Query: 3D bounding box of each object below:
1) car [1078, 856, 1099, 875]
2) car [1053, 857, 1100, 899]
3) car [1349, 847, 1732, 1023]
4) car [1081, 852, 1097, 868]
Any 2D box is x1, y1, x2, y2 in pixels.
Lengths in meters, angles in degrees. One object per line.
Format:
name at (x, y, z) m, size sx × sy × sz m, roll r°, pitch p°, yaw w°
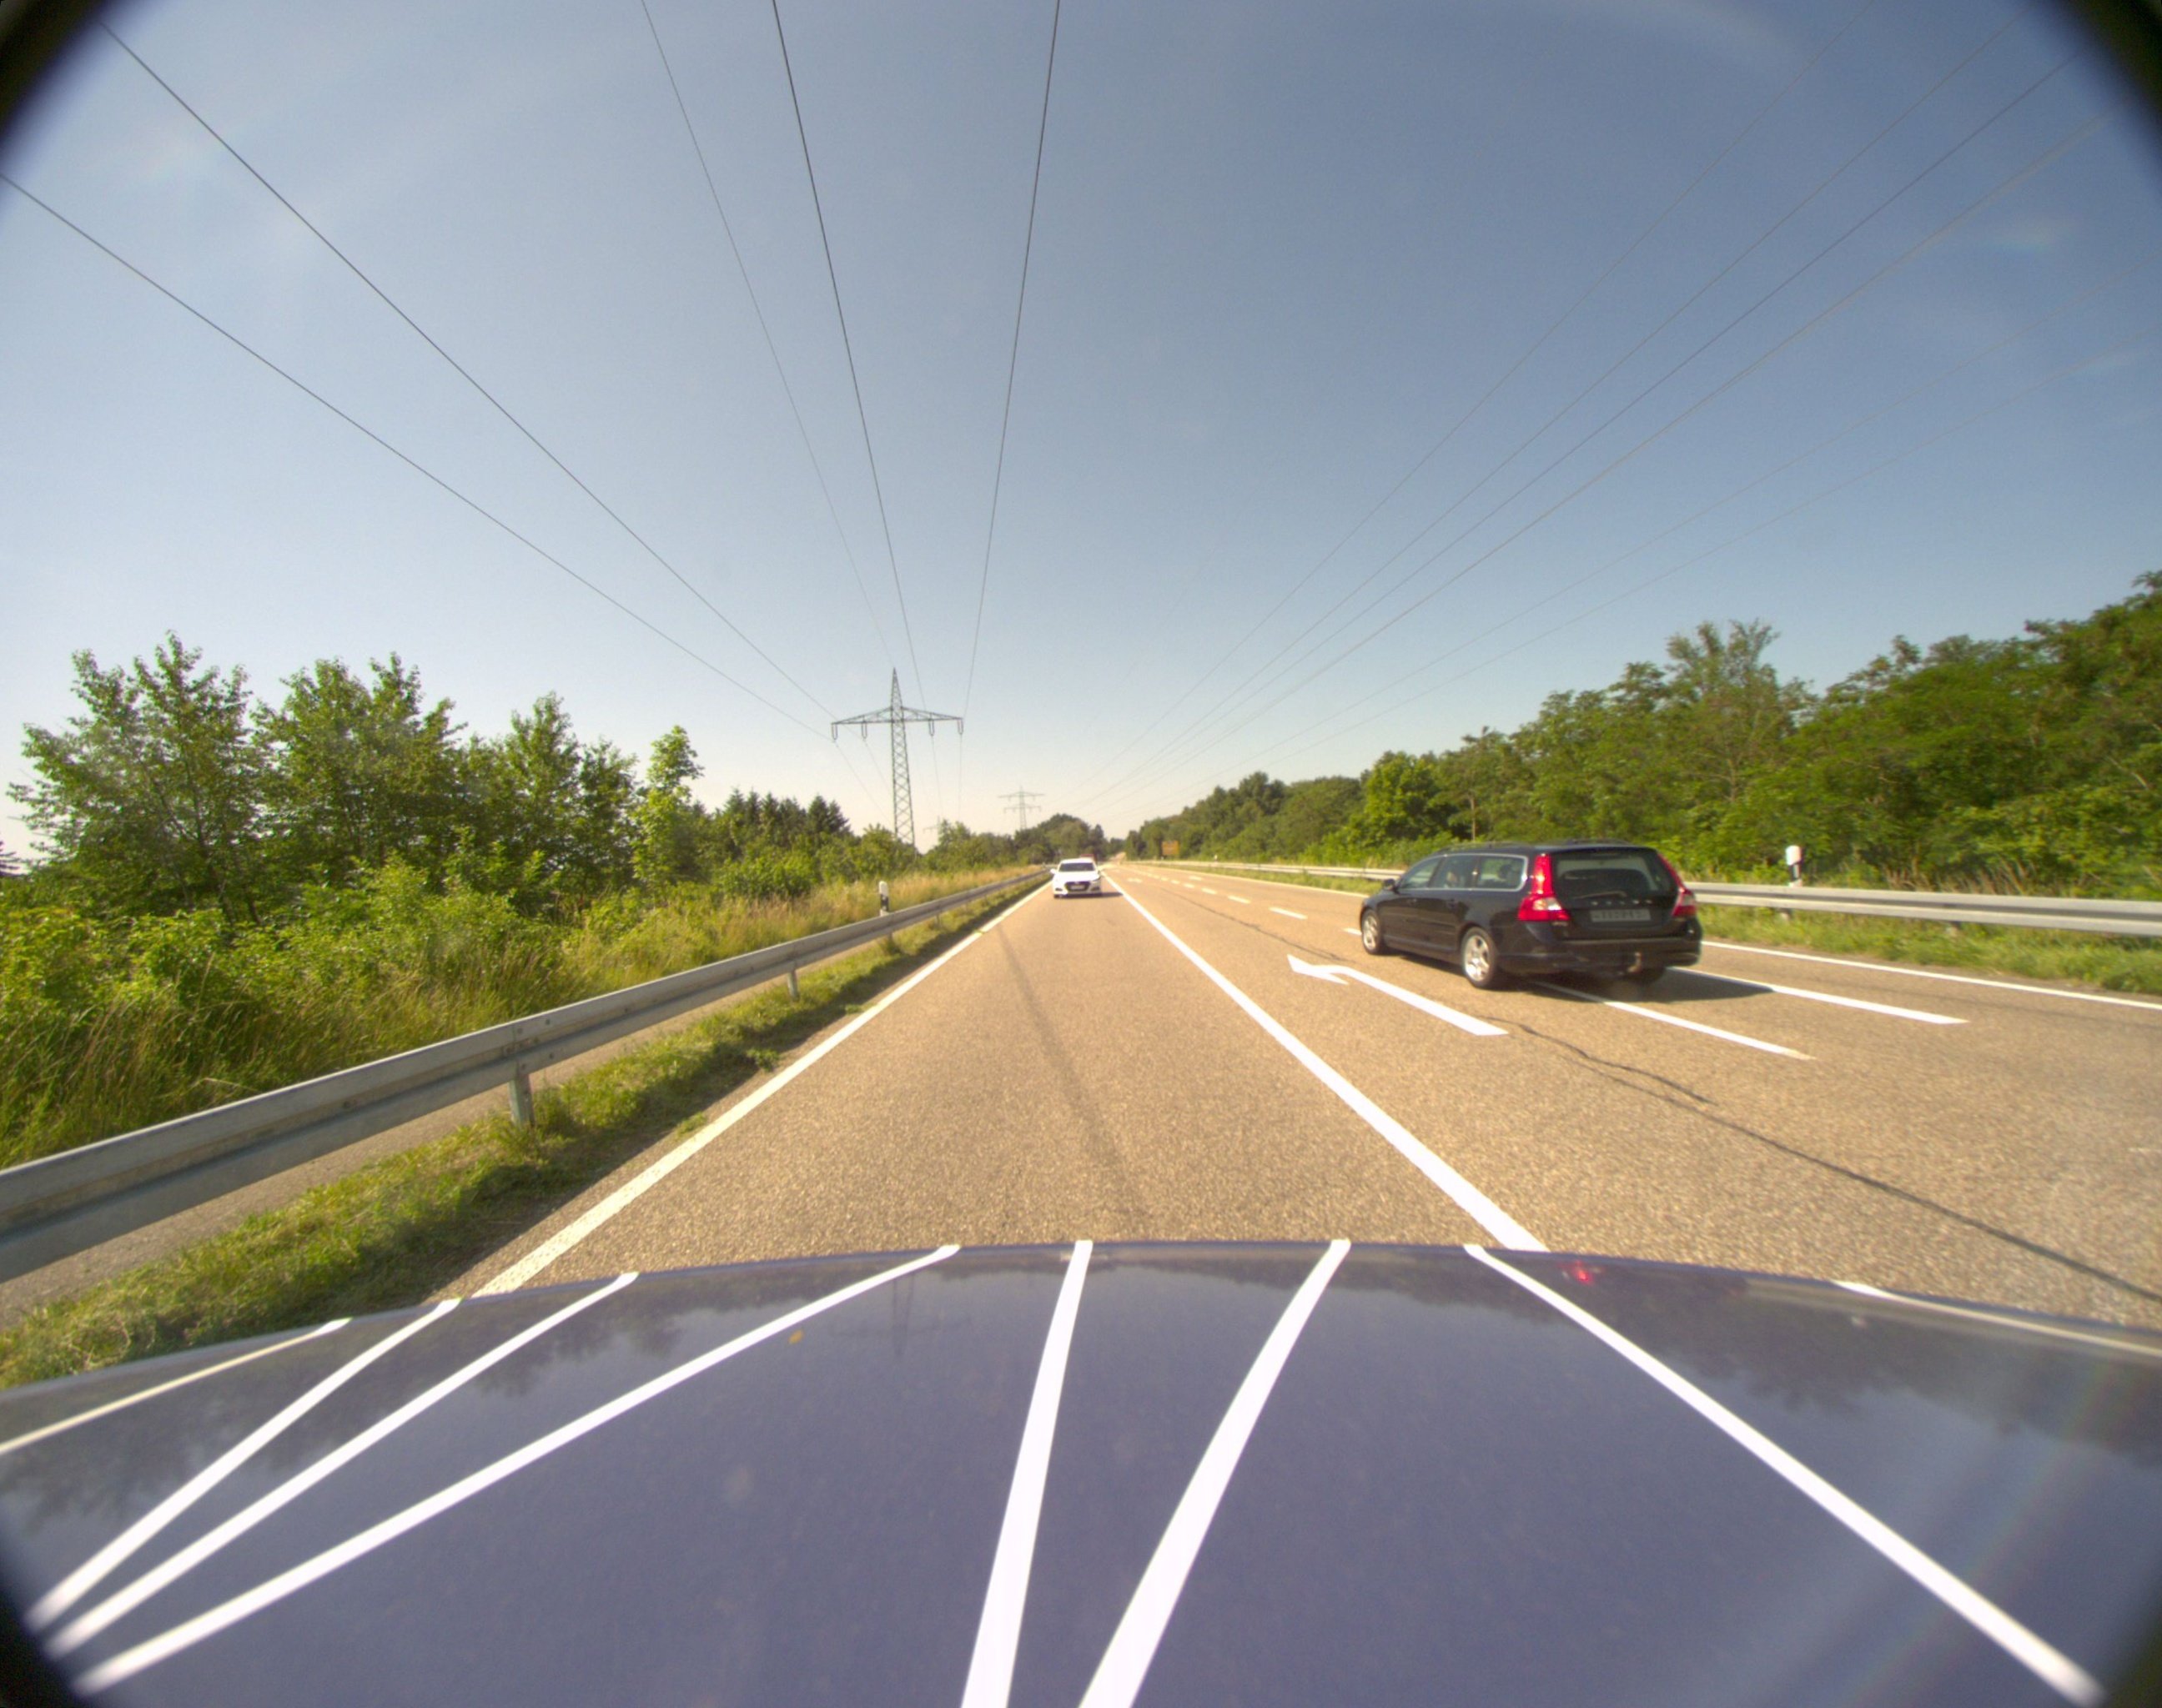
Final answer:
car at (0.606, 0.904, 61.629) m, size 1.549 × 1.460 × 3.661 m, roll -2°, pitch 0°, yaw -1°
car at (-0.176, 0.891, 30.293) m, size 1.683 × 1.471 × 4.473 m, roll -1°, pitch 0°, yaw 0°
car at (4.857, 0.713, 8.940) m, size 1.732 × 1.482 × 4.422 m, roll -2°, pitch 0°, yaw -1°
car at (0.969, 0.773, 95.823) m, size 1.795 × 1.892 × 4.837 m, roll -2°, pitch 0°, yaw -1°
